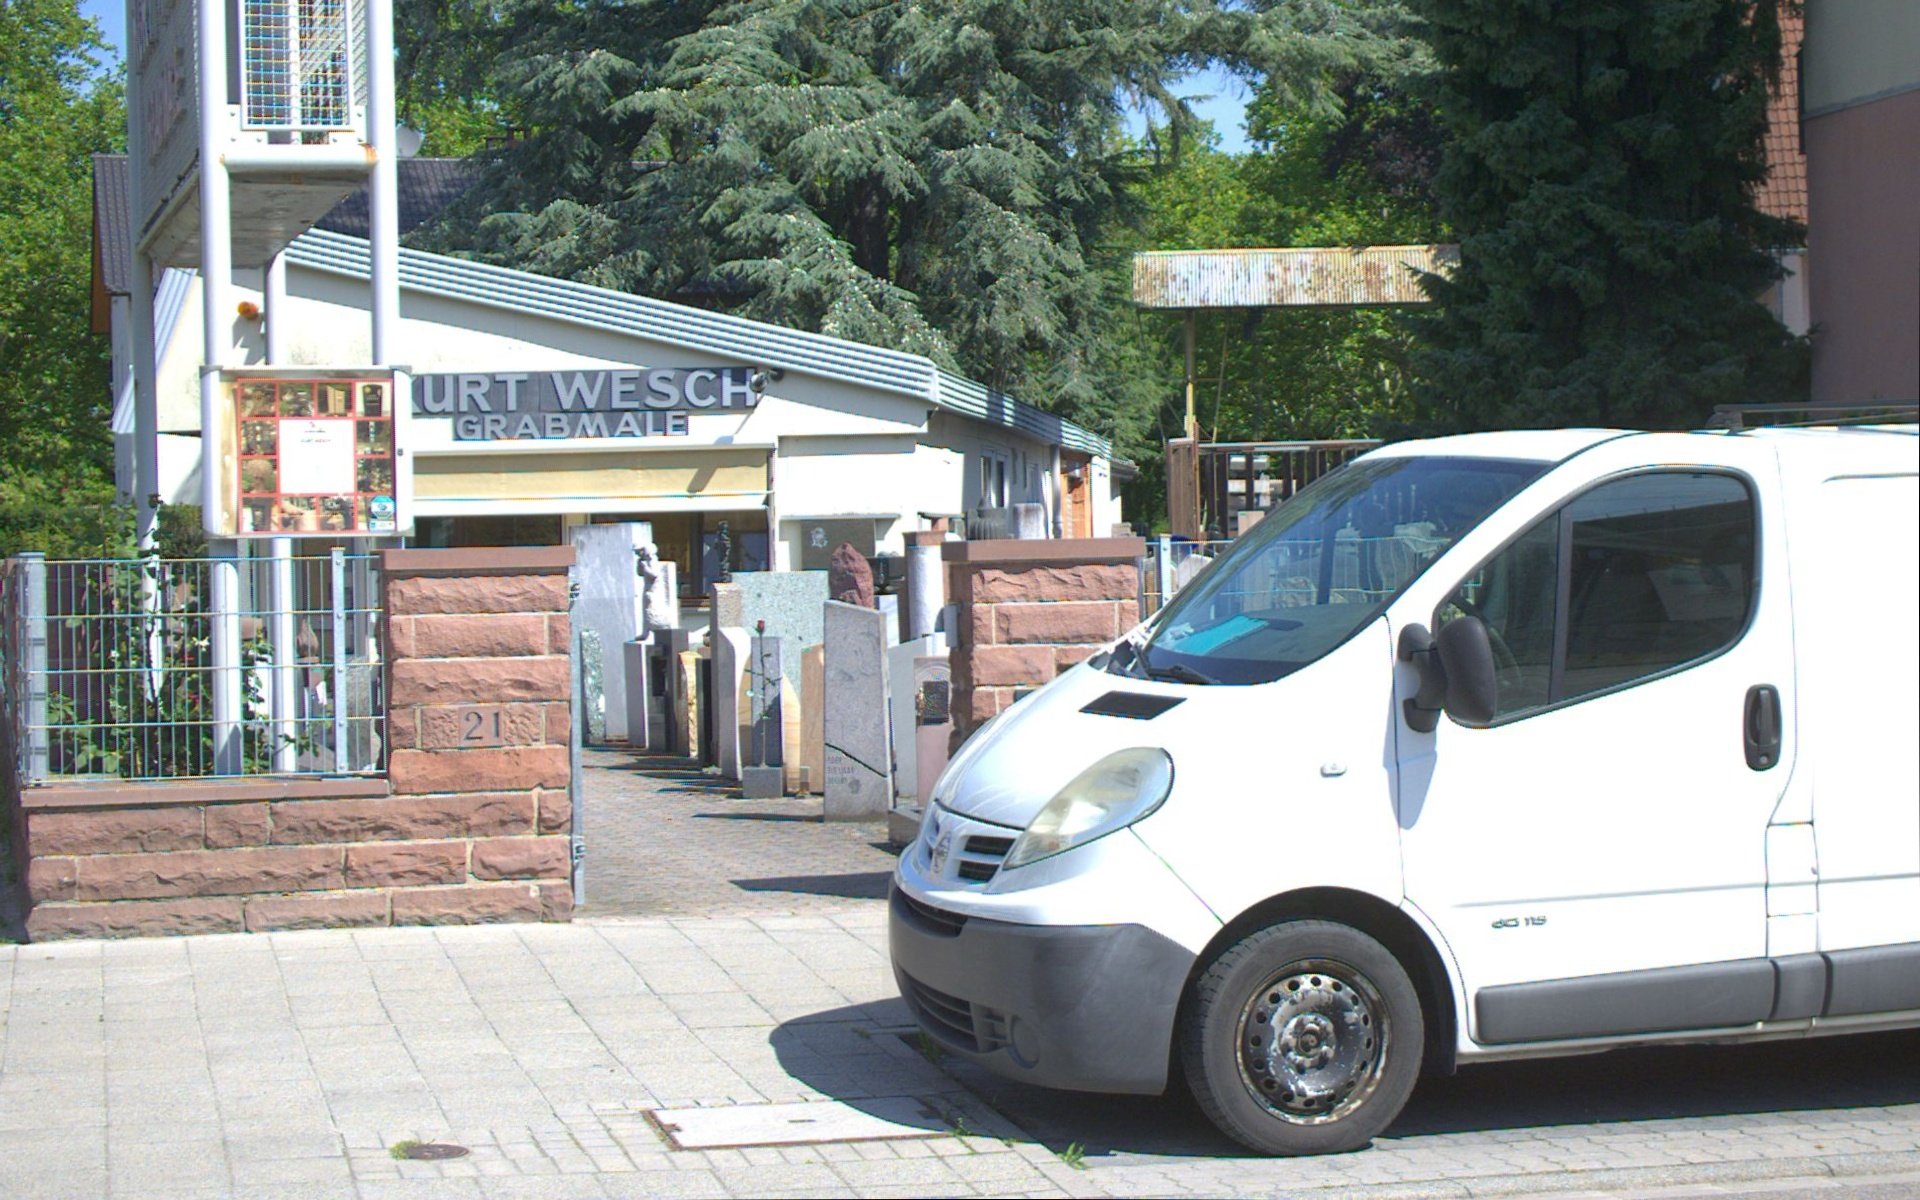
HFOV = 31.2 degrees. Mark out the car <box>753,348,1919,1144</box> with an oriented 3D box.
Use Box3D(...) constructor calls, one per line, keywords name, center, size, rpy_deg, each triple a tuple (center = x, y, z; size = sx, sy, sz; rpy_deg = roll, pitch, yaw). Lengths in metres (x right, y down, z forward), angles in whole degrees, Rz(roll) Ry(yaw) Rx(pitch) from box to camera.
Box3D(name="car", center=(2.002, 0.300, 10.334), size=(4.890, 2.007, 2.091), rpy_deg=(-1, 1, -15))
